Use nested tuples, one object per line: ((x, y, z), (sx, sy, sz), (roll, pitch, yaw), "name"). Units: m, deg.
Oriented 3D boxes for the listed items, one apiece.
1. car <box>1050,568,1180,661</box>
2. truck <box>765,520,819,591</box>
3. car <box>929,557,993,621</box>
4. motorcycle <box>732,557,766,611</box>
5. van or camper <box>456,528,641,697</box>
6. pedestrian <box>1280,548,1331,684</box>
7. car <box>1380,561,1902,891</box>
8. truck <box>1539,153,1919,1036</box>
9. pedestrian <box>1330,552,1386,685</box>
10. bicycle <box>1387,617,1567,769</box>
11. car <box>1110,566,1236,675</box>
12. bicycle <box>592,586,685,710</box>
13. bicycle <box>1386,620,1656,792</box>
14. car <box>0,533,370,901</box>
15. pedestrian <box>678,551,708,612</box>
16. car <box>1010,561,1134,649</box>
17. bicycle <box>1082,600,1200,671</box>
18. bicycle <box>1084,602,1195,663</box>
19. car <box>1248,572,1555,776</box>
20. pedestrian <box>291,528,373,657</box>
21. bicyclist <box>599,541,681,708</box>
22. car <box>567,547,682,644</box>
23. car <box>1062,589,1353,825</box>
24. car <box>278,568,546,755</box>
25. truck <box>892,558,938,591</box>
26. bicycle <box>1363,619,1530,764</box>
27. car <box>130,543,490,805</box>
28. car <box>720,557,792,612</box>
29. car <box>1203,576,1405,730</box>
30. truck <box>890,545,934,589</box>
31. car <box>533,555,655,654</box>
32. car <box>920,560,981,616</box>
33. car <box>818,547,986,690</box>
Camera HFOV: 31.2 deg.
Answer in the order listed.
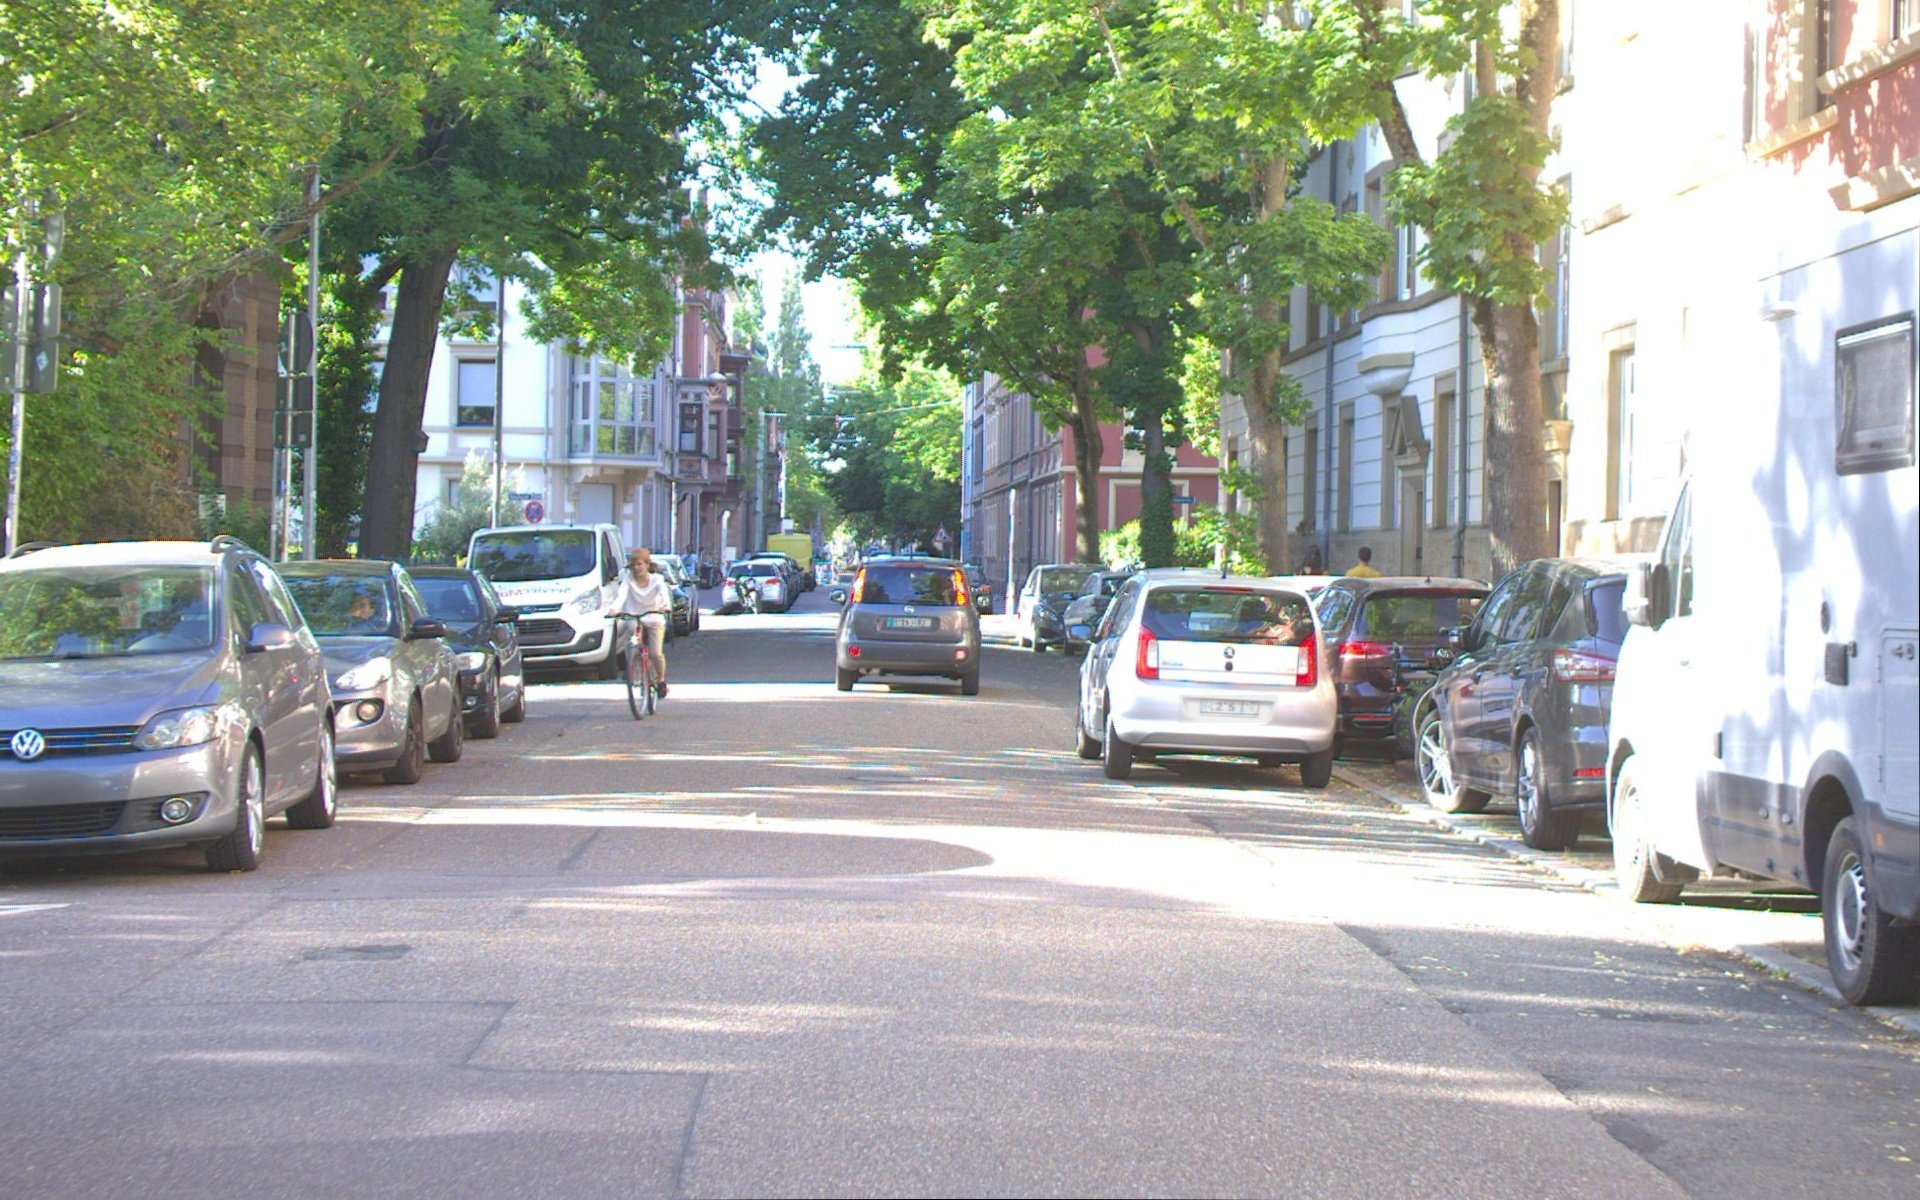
((2.588, 0.219, 58.248), (1.610, 1.473, 3.871), (1, 1, -6), "car")
((-7.283, -1.929, 149.287), (2.070, 2.916, 5.068), (-3, 1, -1), "truck")
((0.010, -0.321, 94.370), (1.663, 1.663, 3.757), (2, 1, -1), "car")
((-5.747, -0.435, 93.401), (0.696, 1.455, 1.751), (0, 1, -11), "motorcycle")
((-5.218, 0.120, 44.230), (1.921, 1.973, 5.462), (-2, 1, -3), "van or camper")
((4.494, 0.199, 44.760), (0.520, 1.729, 0.878), (2, 1, 0), "pedestrian")
((3.920, 0.645, 20.706), (1.885, 1.710, 4.945), (1, 1, -3), "car")
((4.118, -0.074, 14.288), (2.073, 2.958, 6.110), (-1, 1, -3), "truck")
((5.162, 0.236, 44.614), (0.595, 1.696, 0.689), (2, 1, 0), "pedestrian")
((3.910, 0.699, 26.022), (1.307, 1.136, 0.328), (0, 1, -2), "bicycle")
((3.074, 0.269, 50.153), (1.520, 1.505, 3.544), (1, 1, -1), "car")
((-2.947, 0.425, 31.634), (0.665, 1.073, 1.685), (2, 1, 0), "bicycle")
((3.998, 0.750, 24.571), (1.810, 1.163, 0.569), (-1, 1, -2), "bicycle")
((-4.161, 0.482, 17.213), (1.780, 1.585, 4.469), (-1, 1, -2), "car")
((-8.152, -0.573, 105.008), (0.723, 1.833, 0.626), (2, 1, 10), "pedestrian")
((2.042, 0.073, 63.905), (1.788, 1.545, 4.410), (1, 0, -4), "car")
((2.826, 0.557, 53.676), (1.769, 1.036, 0.606), (2, 1, -1), "bicycle")
((2.853, 0.518, 54.899), (1.715, 0.946, 0.733), (0, 1, -1), "bicycle")
((3.642, 0.562, 29.105), (1.786, 1.508, 4.460), (2, 1, -3), "car")
((-7.841, -0.099, 42.954), (0.881, 1.572, 0.529), (2, 0, -1), "pedestrian")
((-2.948, 0.218, 31.709), (0.651, 1.503, 0.625), (2, 1, 0), "bicyclist")
((-5.823, -0.108, 60.022), (1.824, 1.548, 4.134), (-3, 1, -4), "car")
((1.775, 0.737, 25.737), (1.678, 1.539, 3.801), (2, 1, -3), "car")
((-4.642, 0.464, 29.711), (1.713, 1.390, 4.780), (-3, 1, -3), "car")
((-2.080, -1.180, 157.738), (1.993, 1.452, 4.000), (1, 1, -2), "truck")
((3.630, 0.680, 25.667), (1.200, 1.072, 0.298), (0, 1, -2), "bicycle")
((-4.316, 0.423, 23.416), (1.676, 1.567, 4.152), (-2, 1, -1), "car")
((-5.709, -0.456, 96.700), (1.797, 1.427, 3.925), (-2, 1, -1), "car")
((3.482, 0.503, 35.325), (1.596, 1.483, 3.748), (0, 1, -2), "car")
((-2.284, -1.580, 163.112), (1.993, 1.985, 4.000), (1, 1, -2), "truck")
((-5.782, 0.040, 54.640), (1.601, 1.455, 4.028), (-2, 1, -2), "car")
((-0.294, -0.374, 98.859), (1.663, 1.500, 3.757), (2, 1, -1), "car")
((-0.697, 0.182, 39.119), (1.632, 1.545, 3.265), (0, 1, -6), "car")
